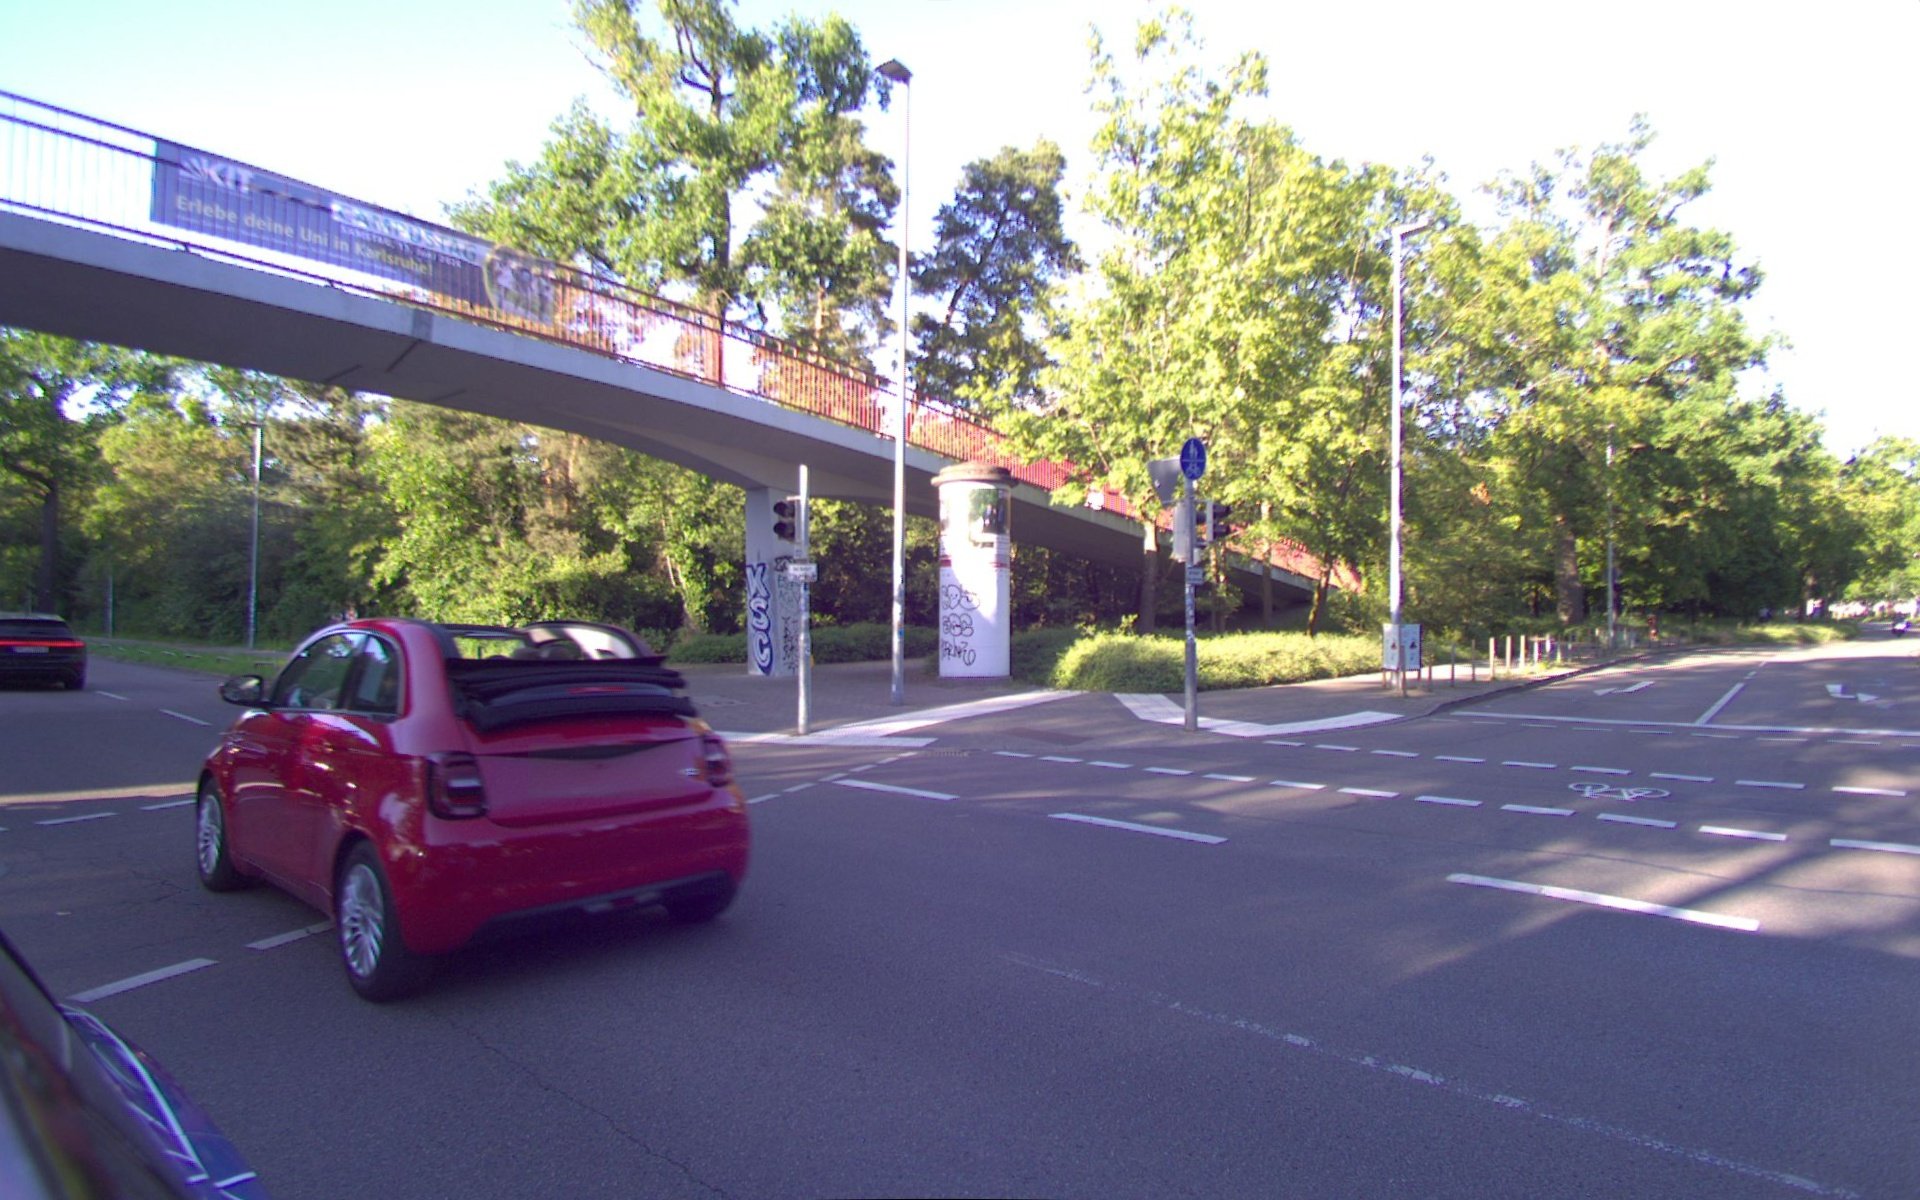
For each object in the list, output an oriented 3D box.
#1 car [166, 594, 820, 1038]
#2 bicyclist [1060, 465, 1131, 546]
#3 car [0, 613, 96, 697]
[{"bbox_3d":[-2.584,0.763,5.232,3.638,1.467,1.732,-1,-2,41],"label":"car"},{"bbox_3d":[4.228,-2.907,31.487,1.412,2.185,1.660,0,-6,43],"label":"bicyclist"},{"bbox_3d":[-19.064,1.037,20.330,4.645,1.517,1.940,0,-2,41],"label":"car"}]
